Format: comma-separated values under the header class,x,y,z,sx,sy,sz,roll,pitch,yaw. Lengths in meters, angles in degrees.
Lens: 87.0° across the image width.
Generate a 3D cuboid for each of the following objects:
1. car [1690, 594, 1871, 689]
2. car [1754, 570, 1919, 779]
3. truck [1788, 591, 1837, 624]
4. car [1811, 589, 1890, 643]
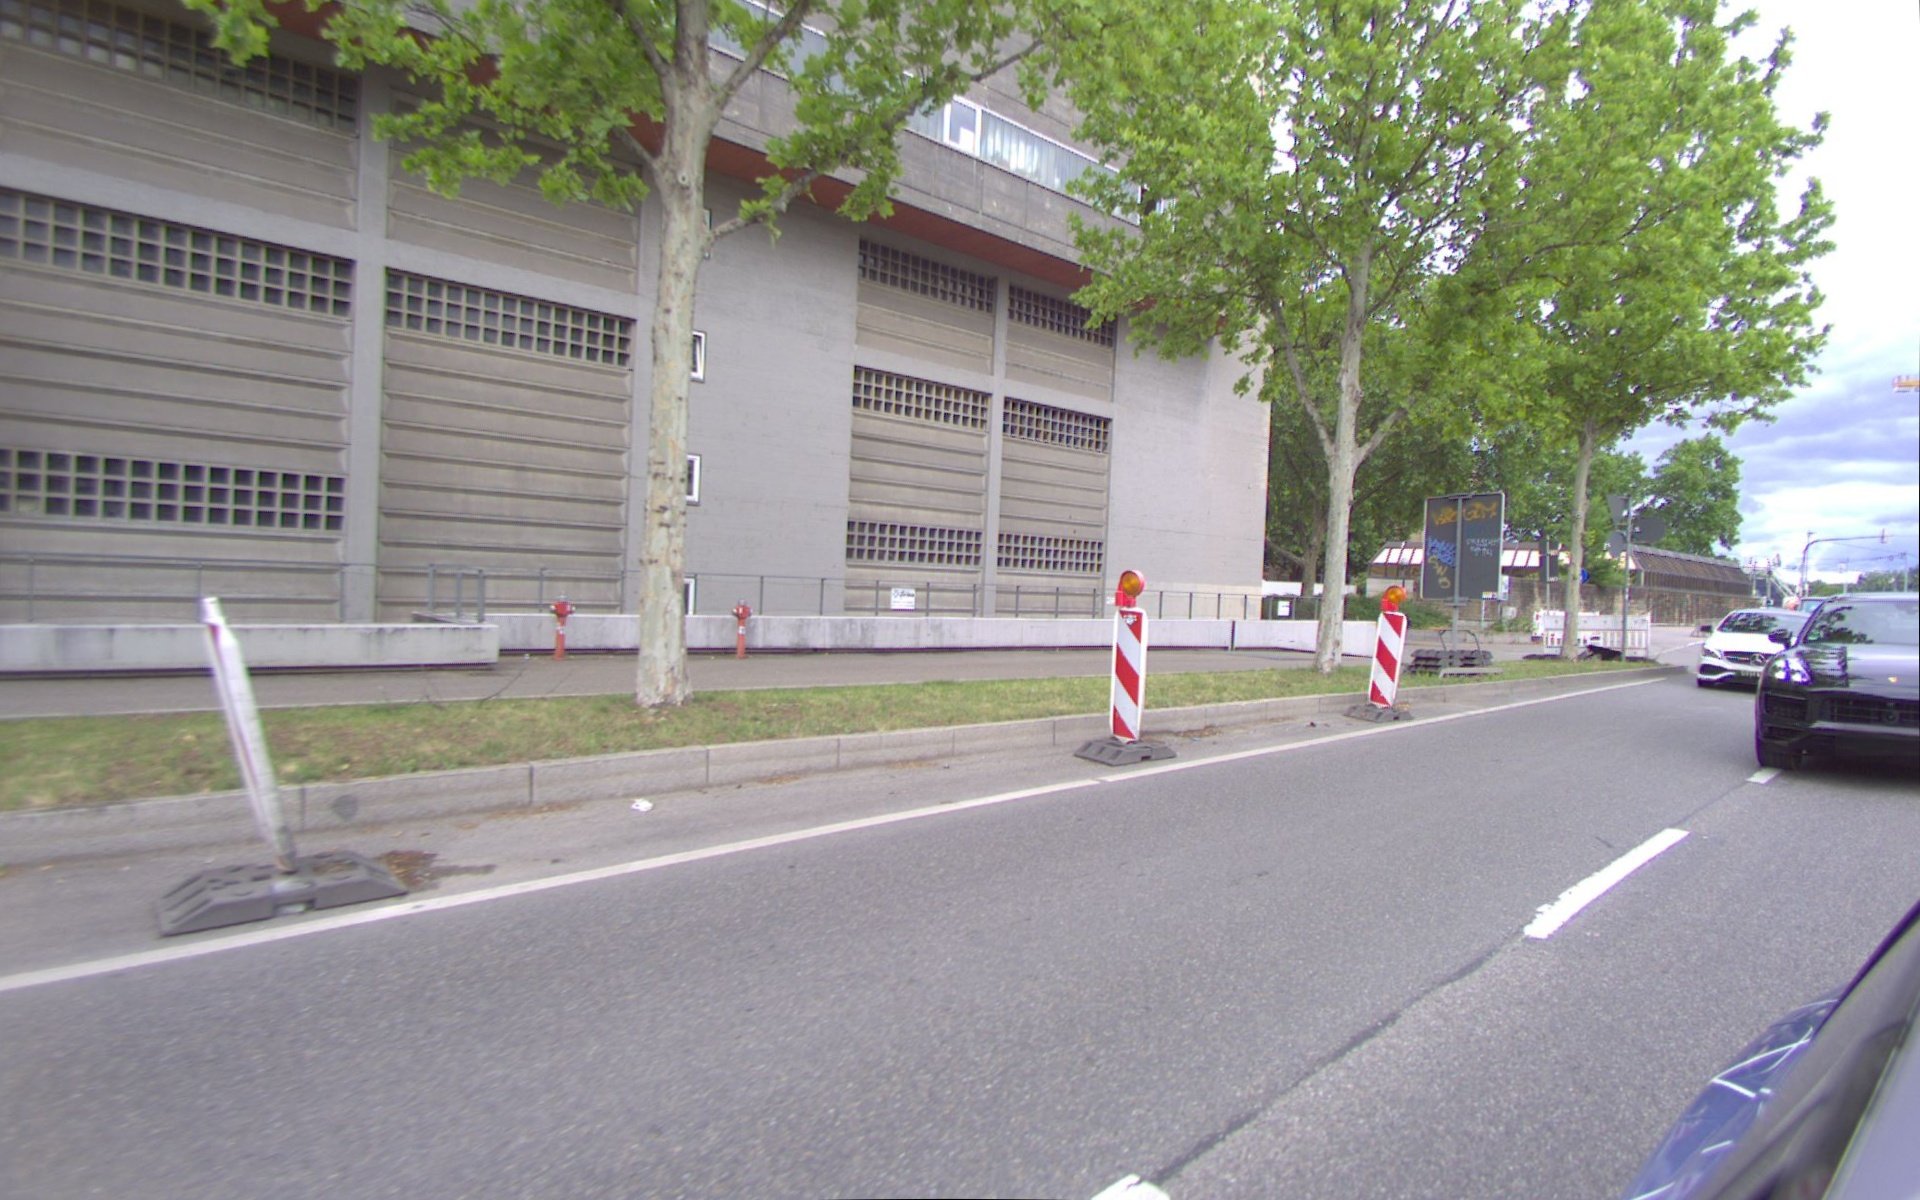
class,x,y,z,sx,sy,sz,roll,pitch,yaw
car,14.845,0.705,18.234,4.303,1.453,1.738,2,1,-41
car,9.305,0.599,9.726,4.530,1.668,1.953,0,1,-43
truck,104.291,0.823,123.928,2.887,3.720,8.931,3,2,30
car,33.861,0.585,38.451,3.709,1.848,1.810,0,3,-43
